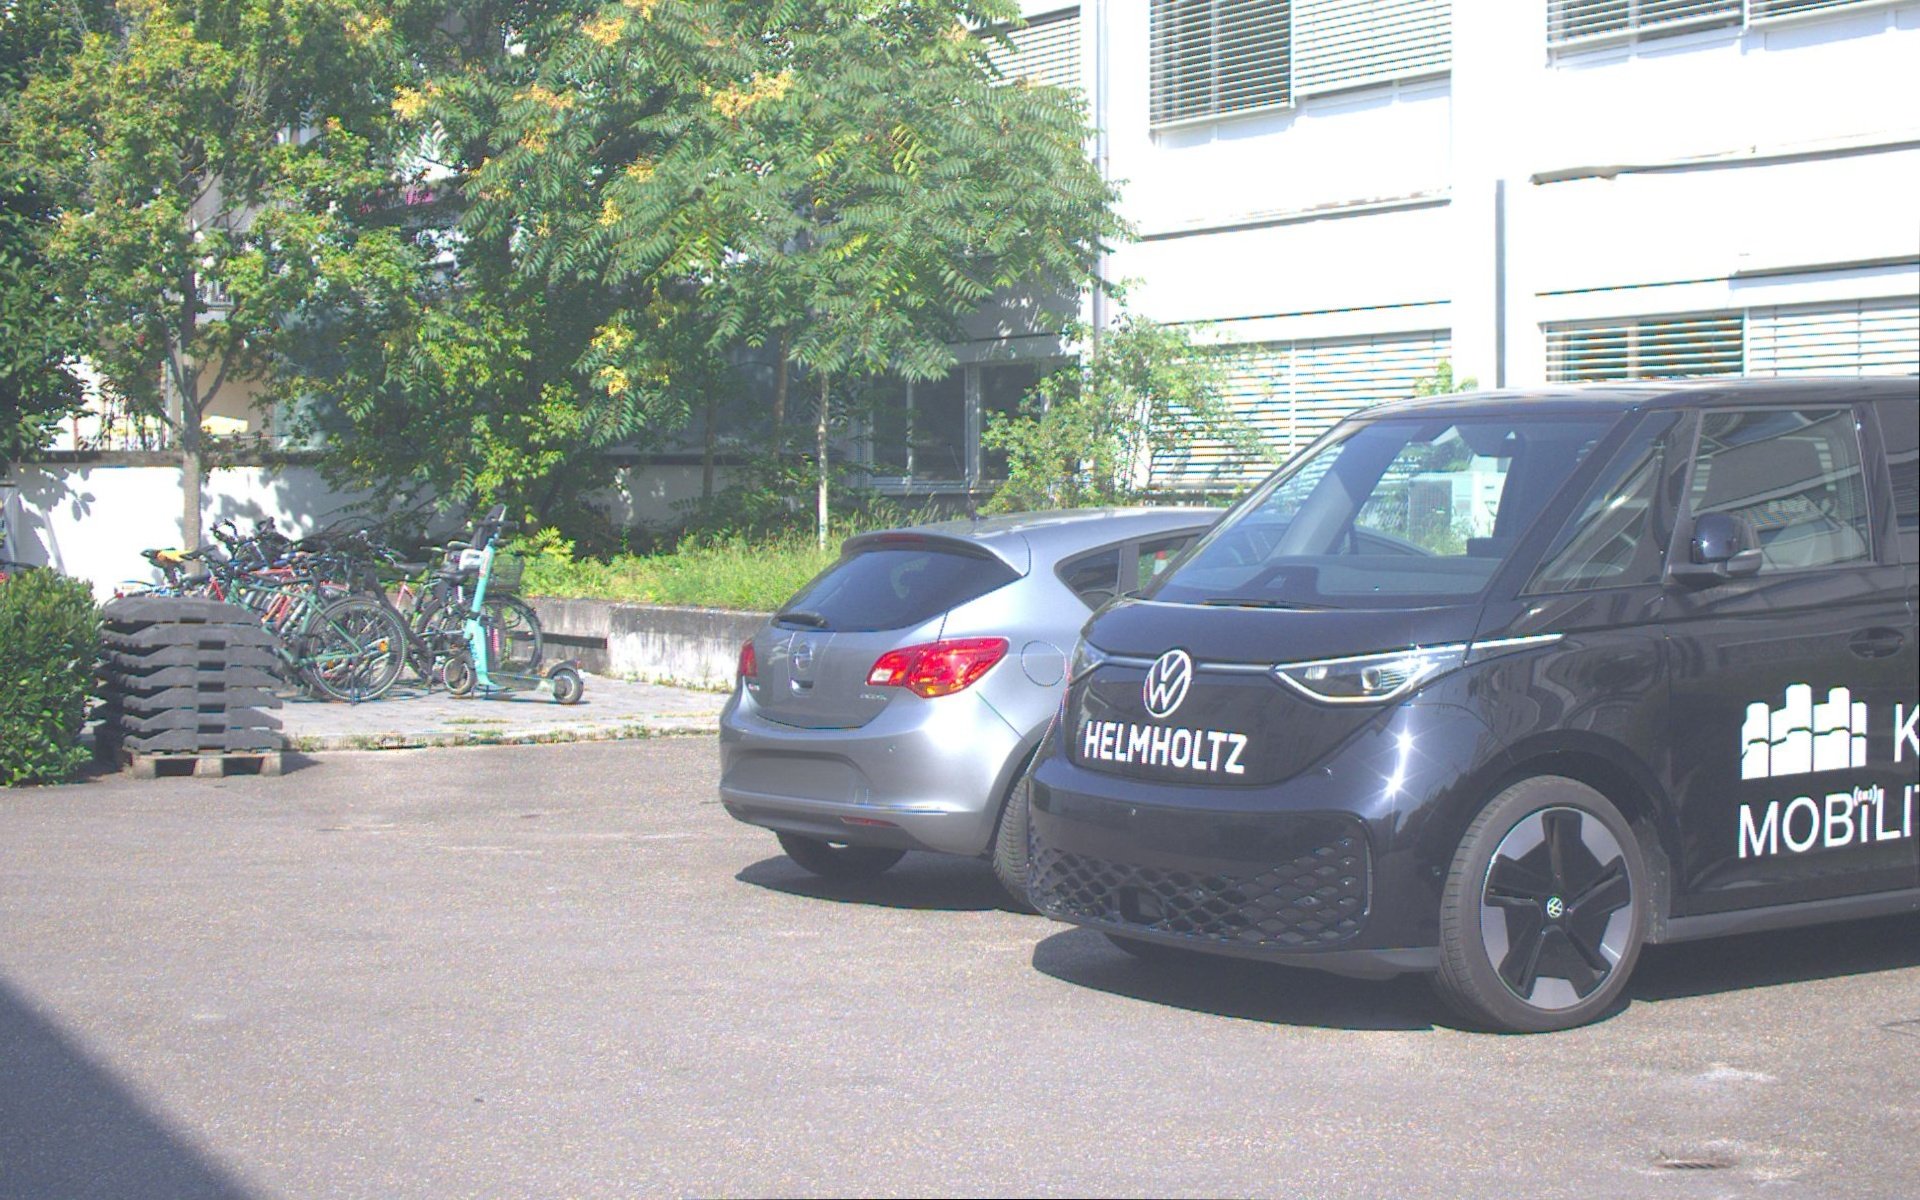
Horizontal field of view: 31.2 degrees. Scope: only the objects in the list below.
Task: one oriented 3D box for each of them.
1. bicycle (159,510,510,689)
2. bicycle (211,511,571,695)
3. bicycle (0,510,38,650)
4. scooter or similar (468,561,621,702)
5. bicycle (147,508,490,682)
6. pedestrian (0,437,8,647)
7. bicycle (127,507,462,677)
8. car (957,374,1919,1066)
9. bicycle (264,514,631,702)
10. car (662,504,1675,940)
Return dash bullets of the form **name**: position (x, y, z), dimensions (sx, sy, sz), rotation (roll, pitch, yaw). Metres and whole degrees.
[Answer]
- **bicycle**: position (-4.484, -0.008, 24.701), dimensions (2.410, 1.242, 0.526), rotation (0, 2, -24)
- **bicycle**: position (-3.962, 0.018, 23.996), dimensions (2.410, 1.242, 0.526), rotation (0, 2, -24)
- **bicycle**: position (-8.266, -0.159, 28.838), dimensions (0.488, 1.139, 1.994), rotation (0, 3, 1)
- **scooter or similar**: position (-2.822, 0.206, 23.317), dimensions (0.998, 0.921, 0.360), rotation (2, 2, 29)
- **bicycle**: position (-4.701, -0.041, 25.268), dimensions (2.410, 1.242, 0.526), rotation (0, 2, -24)
- **pedestrian**: position (-8.478, -0.488, 28.724), dimensions (0.858, 1.765, 0.611), rotation (1, 1, 1)
- **bicycle**: position (-4.995, -0.063, 25.866), dimensions (2.410, 1.242, 0.526), rotation (0, 2, -24)
- **car**: position (2.326, 0.240, 11.168), dimensions (4.335, 1.852, 1.915), rotation (-2, 3, -33)
- **bicycle**: position (-3.488, 0.050, 23.462), dimensions (2.410, 1.242, 0.526), rotation (0, 2, -24)
- **car**: position (0.908, 0.374, 13.749), dimensions (3.897, 1.461, 1.663), rotation (-2, 3, -37)
